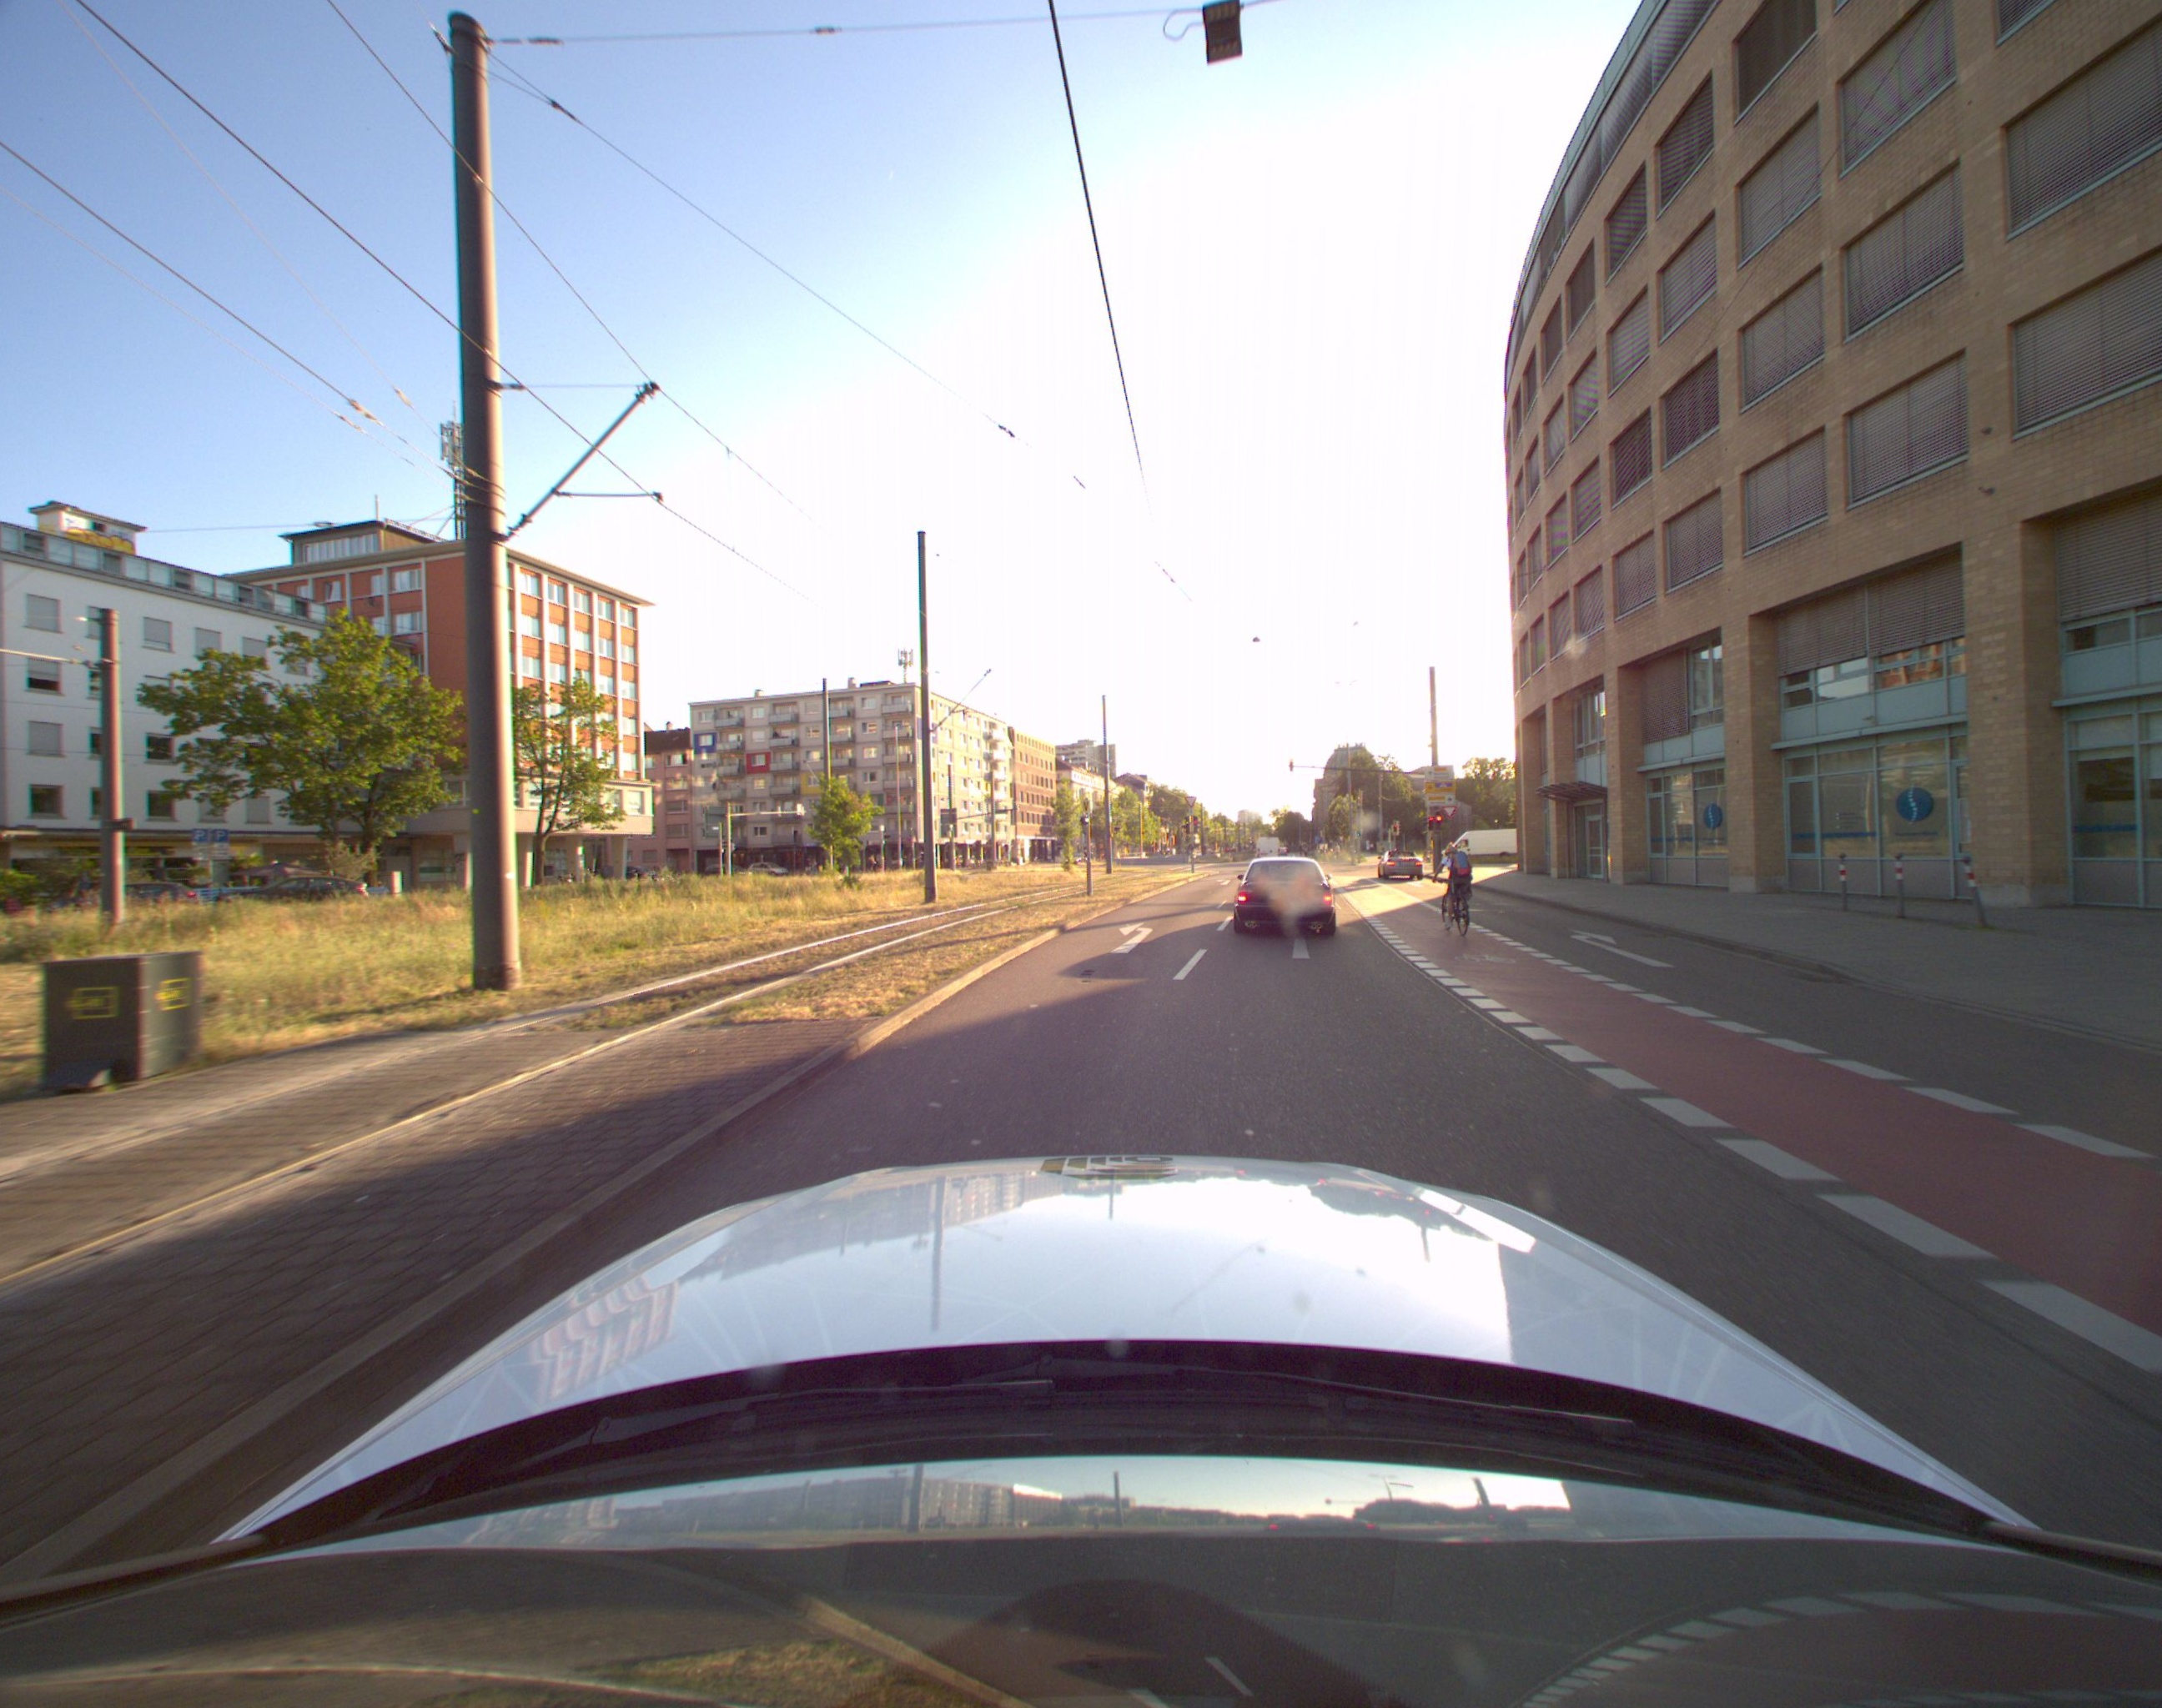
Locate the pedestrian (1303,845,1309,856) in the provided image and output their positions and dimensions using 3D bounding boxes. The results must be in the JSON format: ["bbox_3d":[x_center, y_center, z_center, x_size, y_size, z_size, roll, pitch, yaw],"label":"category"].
[{"bbox_3d":[30.312,-0.431,109.654,0.611,1.475,0.804,-2,1,19],"label":"pedestrian"}]

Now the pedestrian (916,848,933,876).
[{"bbox_3d":[-10.136,0.524,52.747,0.712,1.762,0.654,-1,1,36],"label":"pedestrian"}]

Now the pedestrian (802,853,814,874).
[{"bbox_3d":[-25.327,0.879,75.583,0.699,1.851,0.740,-2,1,15],"label":"pedestrian"}]

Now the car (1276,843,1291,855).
[{"bbox_3d":[25.951,-0.593,104.217,1.724,1.385,4.017,-2,1,15],"label":"car"}]

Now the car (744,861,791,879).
[{"bbox_3d":[-30.490,1.539,79.303,3.841,1.585,1.809,-2,1,9],"label":"car"}]

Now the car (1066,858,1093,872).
[{"bbox_3d":[-0.195,1.303,98.481,1.697,1.434,4.024,0,2,25],"label":"car"}]

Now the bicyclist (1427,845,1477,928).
[{"bbox_3d":[6.887,0.571,15.150,0.650,1.483,1.041,0,0,12],"label":"bicyclist"}]

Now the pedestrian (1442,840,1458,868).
[{"bbox_3d":[21.359,0.013,47.123,0.672,1.569,0.803,-2,1,12],"label":"pedestrian"}]

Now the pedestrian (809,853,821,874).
[{"bbox_3d":[-24.555,0.864,75.253,0.598,1.847,0.825,-2,1,15],"label":"pedestrian"}]

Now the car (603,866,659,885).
[{"bbox_3d":[-42.368,2.039,76.704,4.254,1.585,1.994,-2,1,9],"label":"car"}]

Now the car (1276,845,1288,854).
[{"bbox_3d":[35.623,-0.791,144.591,1.783,1.566,4.013,-2,1,11],"label":"car"}]

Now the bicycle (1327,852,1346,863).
[{"bbox_3d":[24.544,0.320,78.380,1.715,0.970,0.612,-1,1,15],"label":"bicycle"}]

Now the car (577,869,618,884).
[{"bbox_3d":[-56.816,2.622,95.705,3.841,1.585,1.809,-2,1,9],"label":"car"}]

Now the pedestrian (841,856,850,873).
[{"bbox_3d":[-22.049,0.985,76.169,0.510,1.629,0.618,-2,1,15],"label":"pedestrian"}]

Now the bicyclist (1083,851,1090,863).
[{"bbox_3d":[0.643,0.335,96.610,0.655,1.442,0.861,1,1,21],"label":"bicyclist"}]

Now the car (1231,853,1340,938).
[{"bbox_3d":[4.097,0.703,16.284,1.817,1.354,4.660,0,1,14],"label":"car"}]

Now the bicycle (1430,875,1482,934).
[{"bbox_3d":[6.957,0.911,15.173,0.511,0.954,1.782,0,1,13],"label":"bicycle"}]

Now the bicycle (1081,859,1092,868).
[{"bbox_3d":[0.675,1.138,96.743,0.696,0.970,1.743,1,2,19],"label":"bicycle"}]

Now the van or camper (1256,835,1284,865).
[{"bbox_3d":[17.775,-0.411,76.527,2.246,2.624,4.522,-2,1,15],"label":"van or camper"}]

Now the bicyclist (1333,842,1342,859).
[{"bbox_3d":[24.645,-0.331,78.335,0.792,1.571,0.666,-2,1,15],"label":"bicyclist"}]

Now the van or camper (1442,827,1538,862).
[{"bbox_3d":[35.025,-0.819,70.034,6.988,2.674,2.610,-2,1,17],"label":"van or camper"}]

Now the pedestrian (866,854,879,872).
[{"bbox_3d":[-19.785,0.868,77.288,0.732,1.669,0.788,-2,1,28],"label":"pedestrian"}]

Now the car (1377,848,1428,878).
[{"bbox_3d":[15.589,0.403,39.629,1.771,1.354,4.283,-1,1,14],"label":"car"}]

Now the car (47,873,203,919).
[{"bbox_3d":[-39.305,1.673,33.584,1.737,1.526,4.026,-1,1,37],"label":"car"}]

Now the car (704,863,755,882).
[{"bbox_3d":[-31.634,1.660,73.333,3.841,1.585,1.809,-2,1,9],"label":"car"}]

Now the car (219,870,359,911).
[{"bbox_3d":[-36.170,1.617,37.292,1.737,1.526,4.320,-1,1,37],"label":"car"}]
